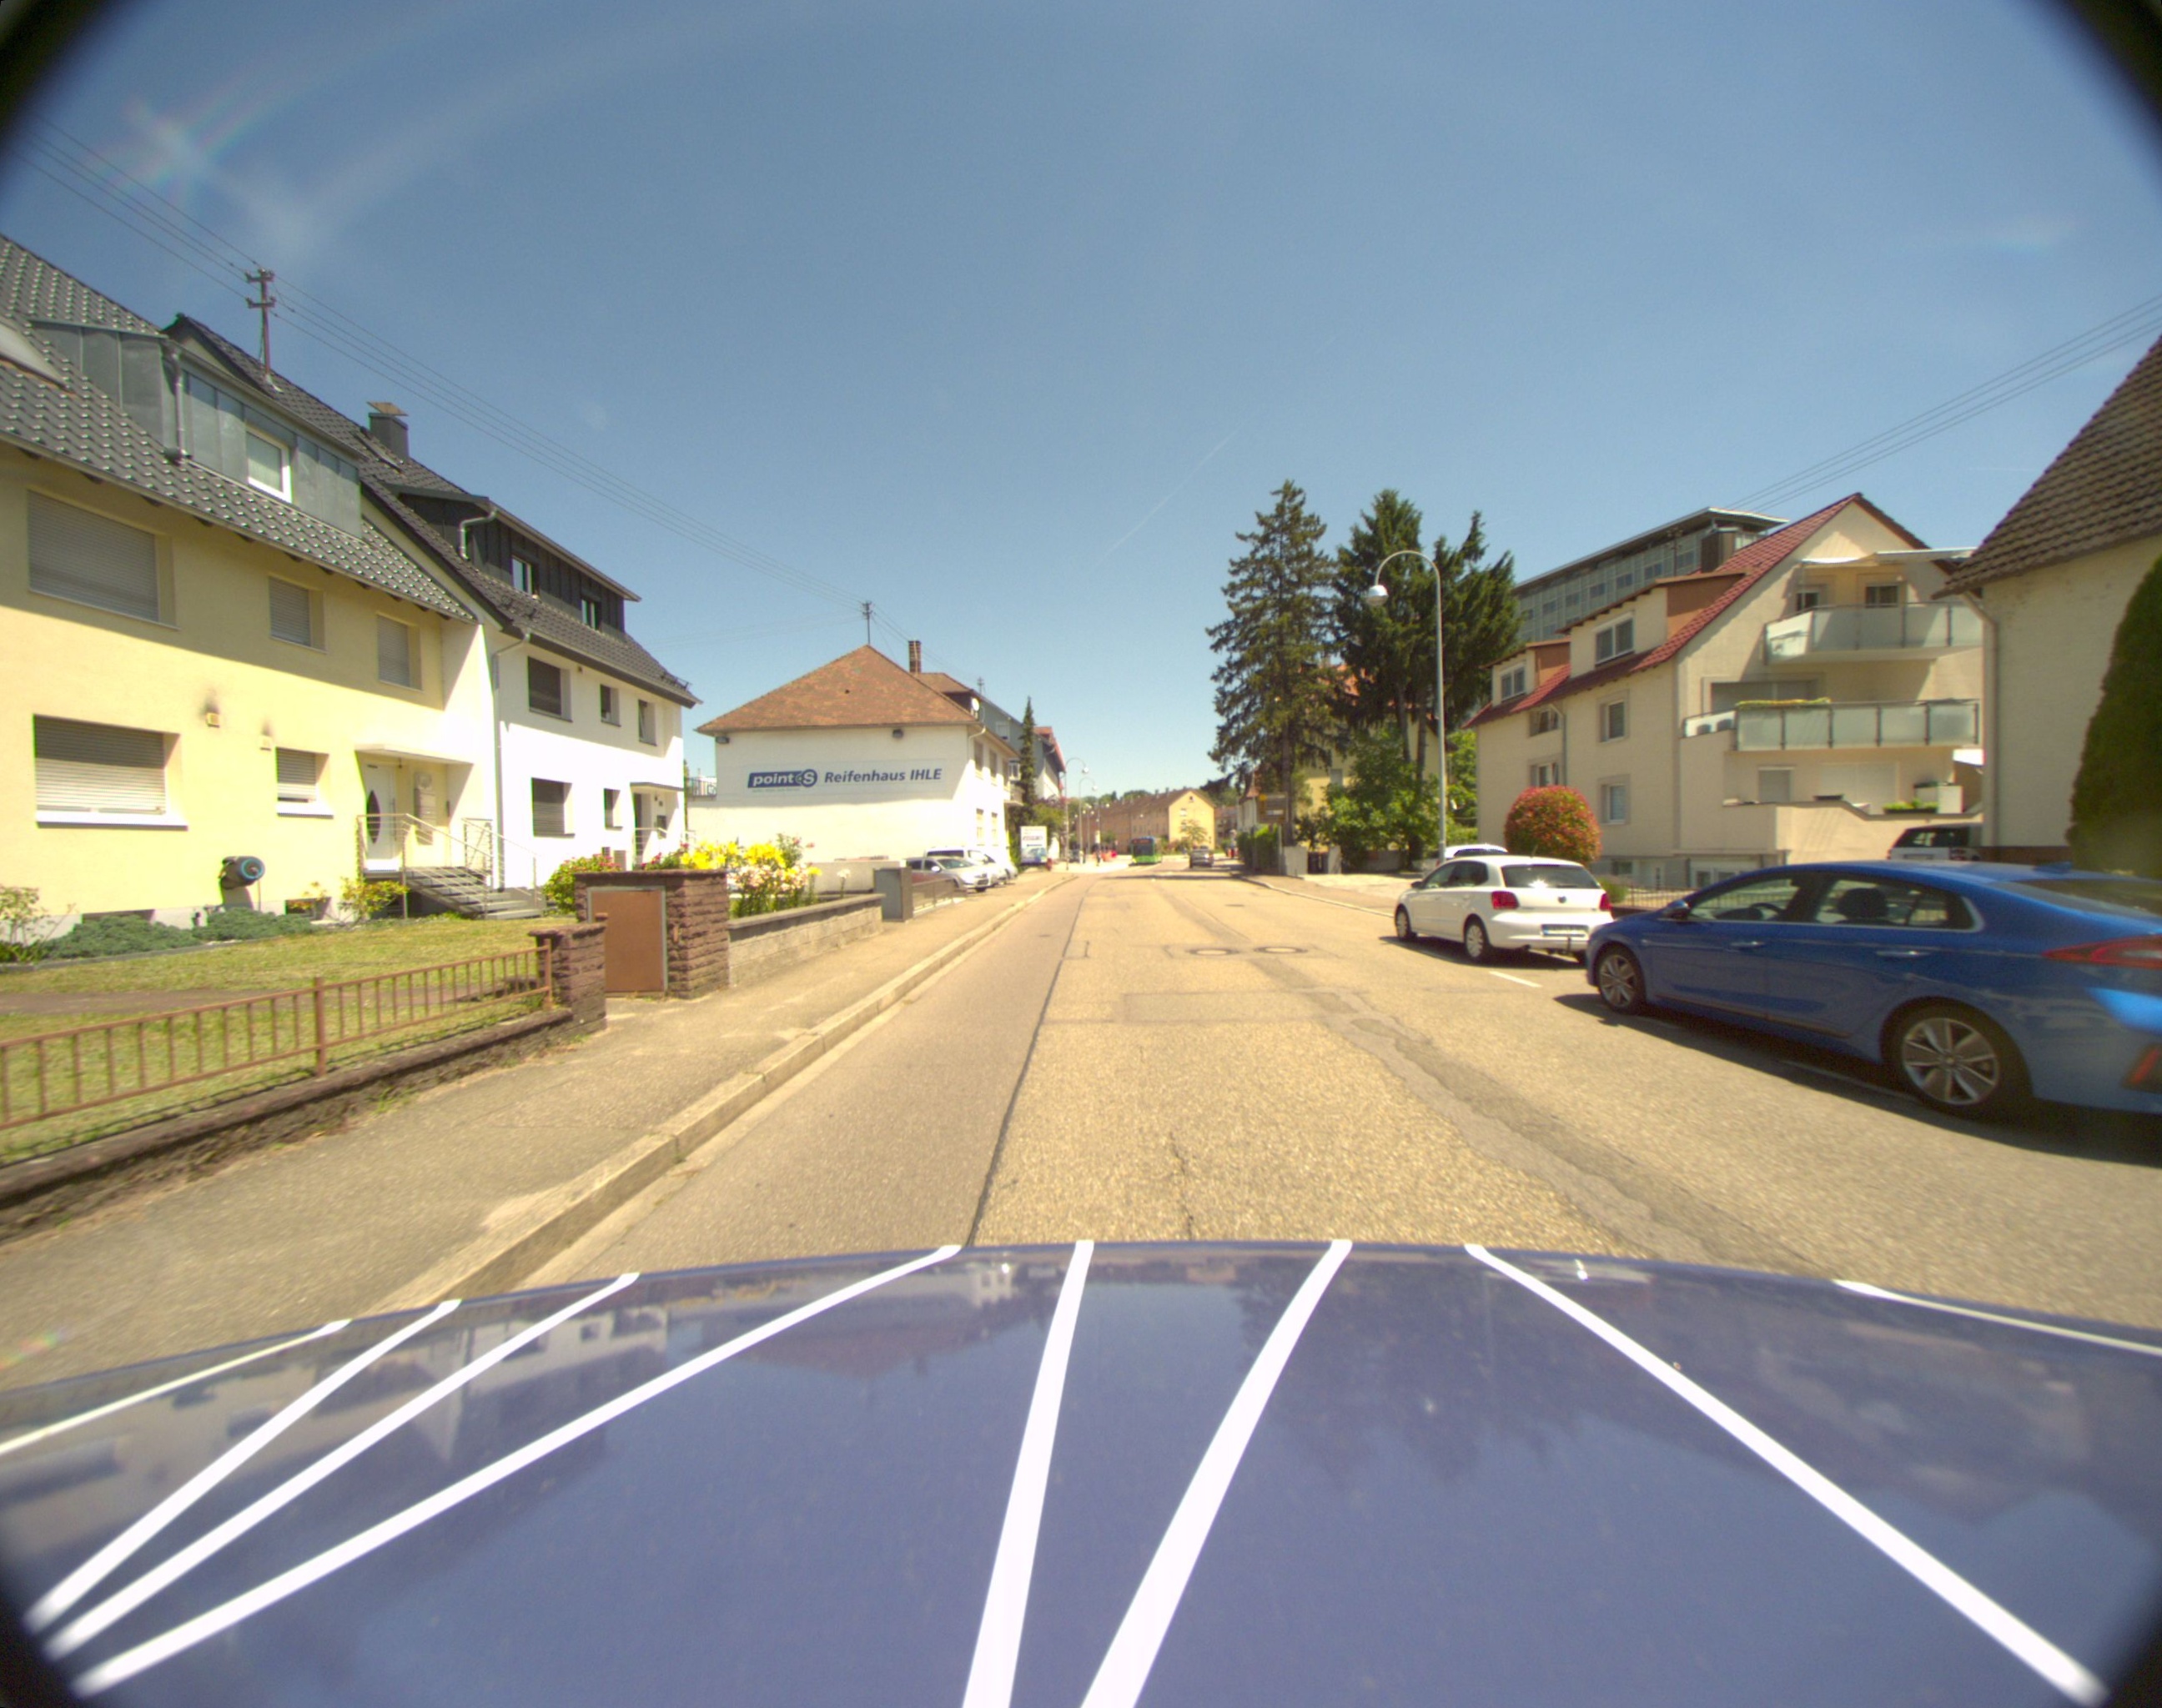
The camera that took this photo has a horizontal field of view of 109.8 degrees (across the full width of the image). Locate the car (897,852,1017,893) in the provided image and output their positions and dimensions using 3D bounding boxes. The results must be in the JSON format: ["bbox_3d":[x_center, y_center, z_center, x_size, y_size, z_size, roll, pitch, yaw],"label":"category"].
[{"bbox_3d":[-5.233,0.772,32.441,4.650,1.401,1.769,-4,0,4],"label":"car"}]

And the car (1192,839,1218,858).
[{"bbox_3d":[10.112,-0.474,61.896,1.743,1.496,4.146,1,1,13],"label":"car"}]

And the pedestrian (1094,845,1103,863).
[{"bbox_3d":[1.729,-0.005,75.931,0.751,1.795,0.615,2,2,-11],"label":"pedestrian"}]

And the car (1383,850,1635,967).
[{"bbox_3d":[6.072,0.667,11.361,1.582,1.415,3.941,1,0,1],"label":"car"}]

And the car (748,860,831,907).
[{"bbox_3d":[-11.219,1.100,29.134,1.716,1.553,4.109,-5,2,-38],"label":"car"}]

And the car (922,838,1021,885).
[{"bbox_3d":[-4.989,0.333,34.985,4.303,1.820,1.738,-4,1,-5],"label":"car"}]

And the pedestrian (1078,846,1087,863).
[{"bbox_3d":[0.170,0.044,74.343,0.614,1.607,0.751,2,2,20],"label":"pedestrian"}]

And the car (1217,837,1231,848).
[{"bbox_3d":[21.063,-1.708,111.924,1.857,1.607,4.299,-2,1,10],"label":"car"}]

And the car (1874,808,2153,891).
[{"bbox_3d":[19.462,-0.087,15.981,3.793,1.527,1.647,-2,0,0],"label":"car"}]

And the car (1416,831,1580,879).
[{"bbox_3d":[13.907,0.025,25.572,4.477,1.433,1.847,-2,1,6],"label":"car"}]

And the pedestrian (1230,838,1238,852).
[{"bbox_3d":[17.187,-1.041,85.228,0.614,1.555,0.824,-6,1,8],"label":"pedestrian"}]

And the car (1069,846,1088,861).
[{"bbox_3d":[-0.295,-0.057,83.998,1.762,1.505,3.742,2,1,4],"label":"car"}]

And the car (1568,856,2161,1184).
[{"bbox_3d":[5.747,0.763,5.406,1.773,1.430,4.362,1,0,1],"label":"car"}]

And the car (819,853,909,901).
[{"bbox_3d":[-8.465,0.868,29.429,1.641,1.633,4.293,-5,2,-40],"label":"car"}]

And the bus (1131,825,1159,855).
[{"bbox_3d":[7.300,-1.586,86.761,2.909,3.063,12.565,-1,1,5],"label":"bus"}]

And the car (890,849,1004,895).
[{"bbox_3d":[-5.219,0.729,29.399,4.293,1.539,1.759,-3,2,35],"label":"car"}]
